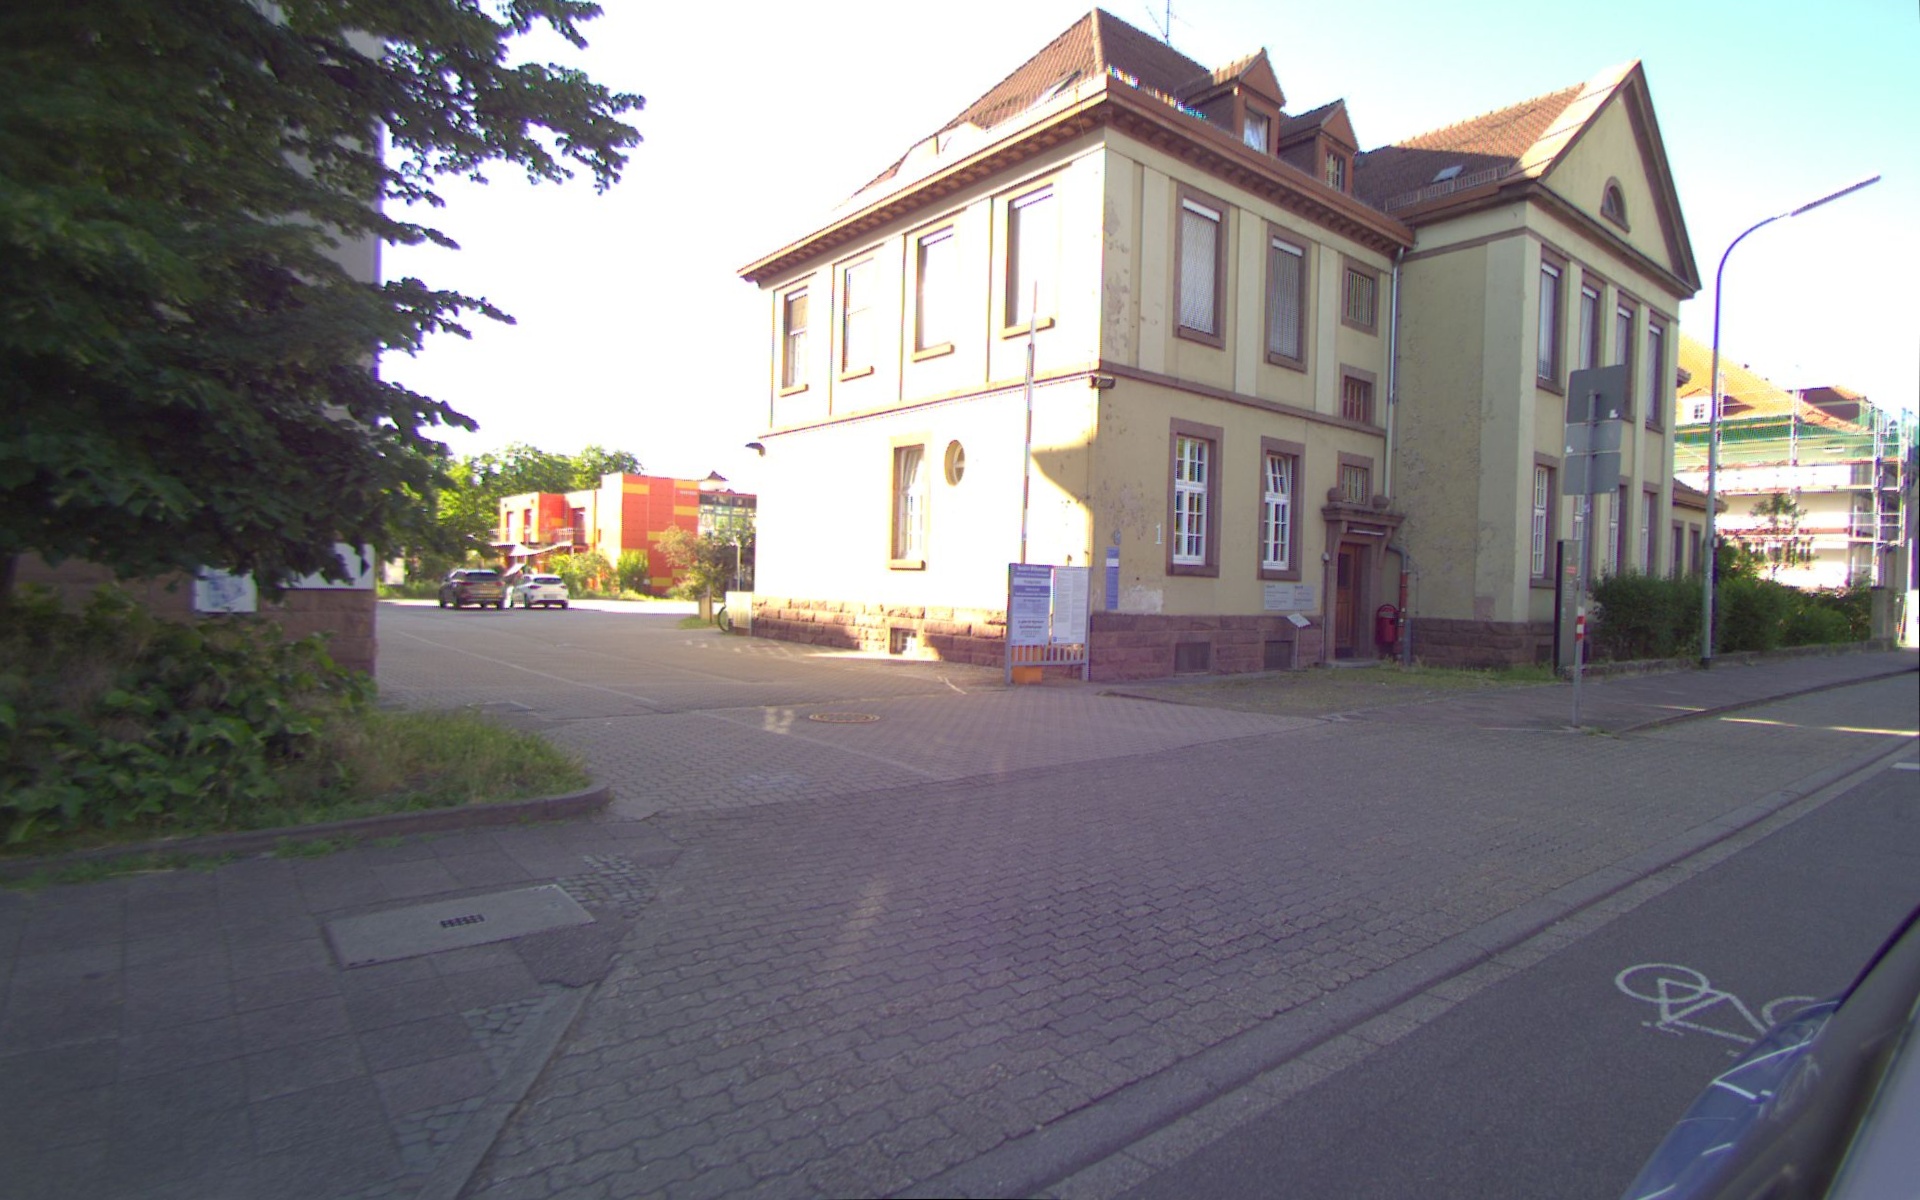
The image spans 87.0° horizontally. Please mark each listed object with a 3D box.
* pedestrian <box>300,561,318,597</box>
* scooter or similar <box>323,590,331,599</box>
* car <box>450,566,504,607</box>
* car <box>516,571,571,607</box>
[{"bbox_3d":[-32.057,-1.031,49.831,0.631,1.739,0.491,1,0,-42],"label":"pedestrian"},{"bbox_3d":[-30.987,-0.266,49.503,0.289,0.417,0.269,1,1,-42],"label":"scooter or similar"},{"bbox_3d":[-19.542,-0.572,40.893,1.752,1.576,3.452,1,1,-29],"label":"car"},{"bbox_3d":[-17.628,-0.481,42.772,1.752,1.418,3.452,1,1,-29],"label":"car"}]
